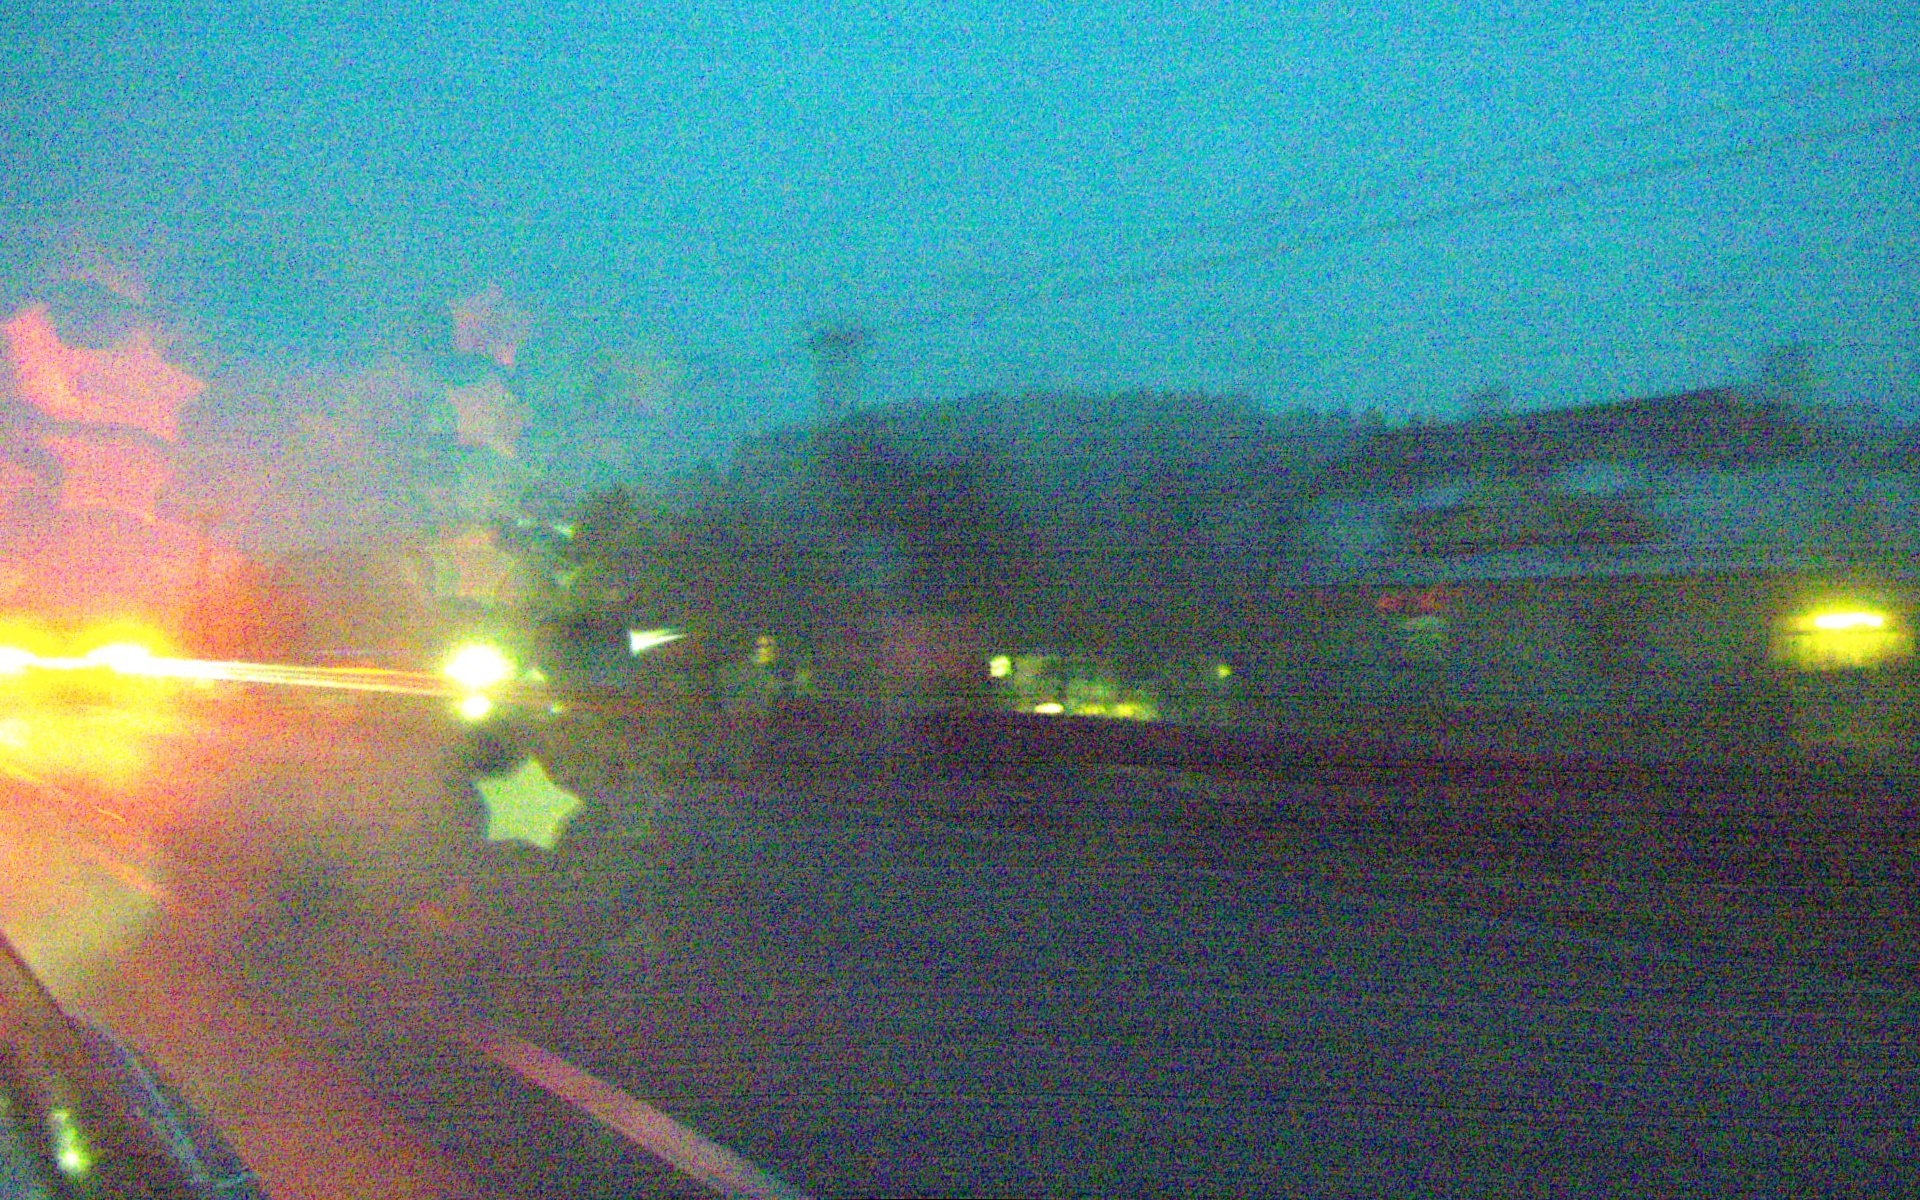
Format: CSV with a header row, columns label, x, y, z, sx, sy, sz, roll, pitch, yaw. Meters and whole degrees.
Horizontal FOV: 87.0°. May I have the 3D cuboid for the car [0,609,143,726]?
label,x,y,z,sx,sy,sz,roll,pitch,yaw
car,-15.459,1.009,16.858,4.694,1.705,1.974,0,-1,40
